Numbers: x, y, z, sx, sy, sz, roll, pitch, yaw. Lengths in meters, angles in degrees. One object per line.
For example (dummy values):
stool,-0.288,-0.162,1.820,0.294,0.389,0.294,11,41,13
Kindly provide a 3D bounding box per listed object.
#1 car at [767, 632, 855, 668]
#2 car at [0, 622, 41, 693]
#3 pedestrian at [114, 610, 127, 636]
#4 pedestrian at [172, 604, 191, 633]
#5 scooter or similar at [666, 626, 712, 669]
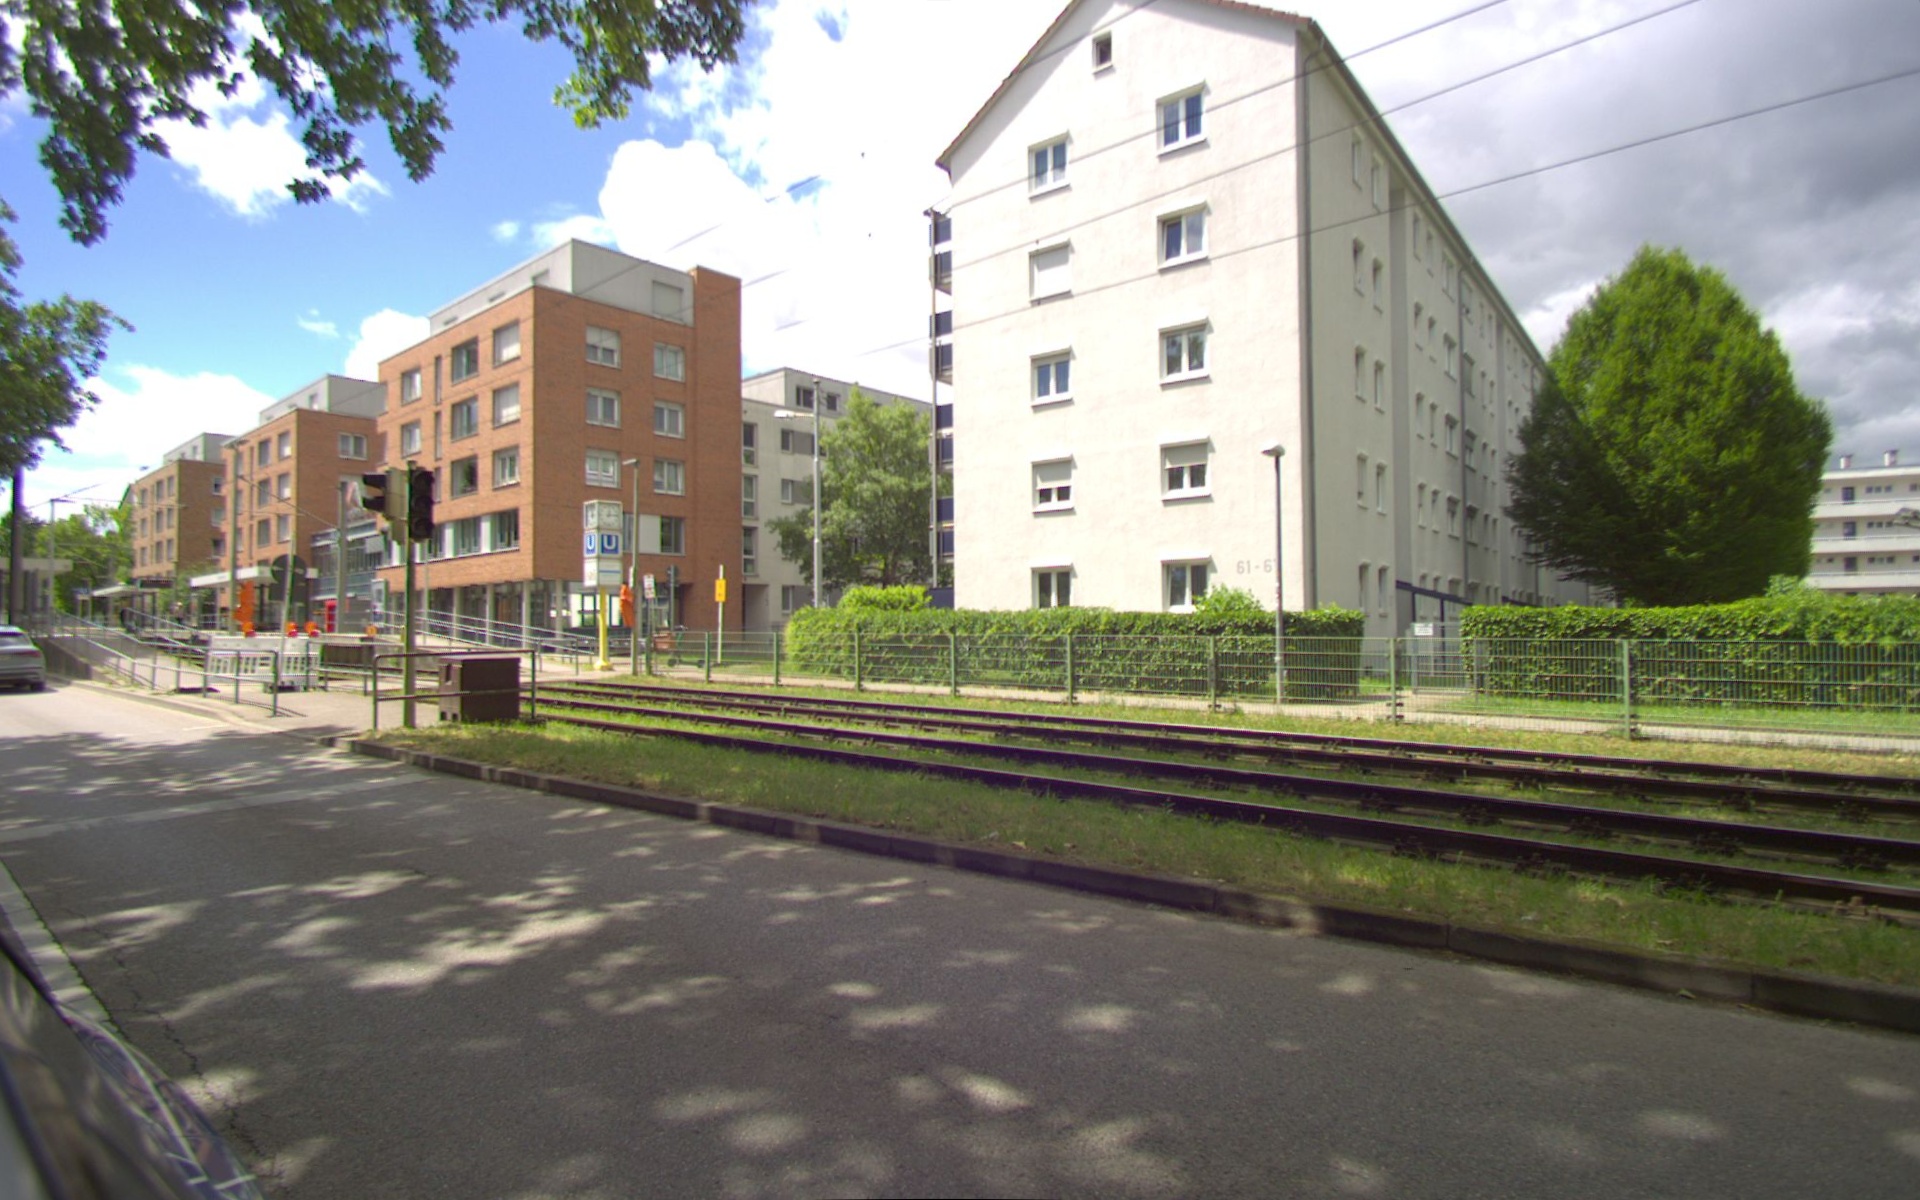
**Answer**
car,-6.752,2.245,45.770,4.000,1.564,1.874,-2,-3,43
car,-21.209,1.225,21.751,3.848,1.446,1.619,-2,-2,40
pedestrian,-58.910,1.601,71.019,0.527,1.777,0.529,-1,-2,38
pedestrian,-44.960,1.055,58.458,0.815,1.641,0.743,-2,-1,41
scooter or similar,-8.183,1.426,30.588,1.280,1.263,0.466,2,-3,-39
